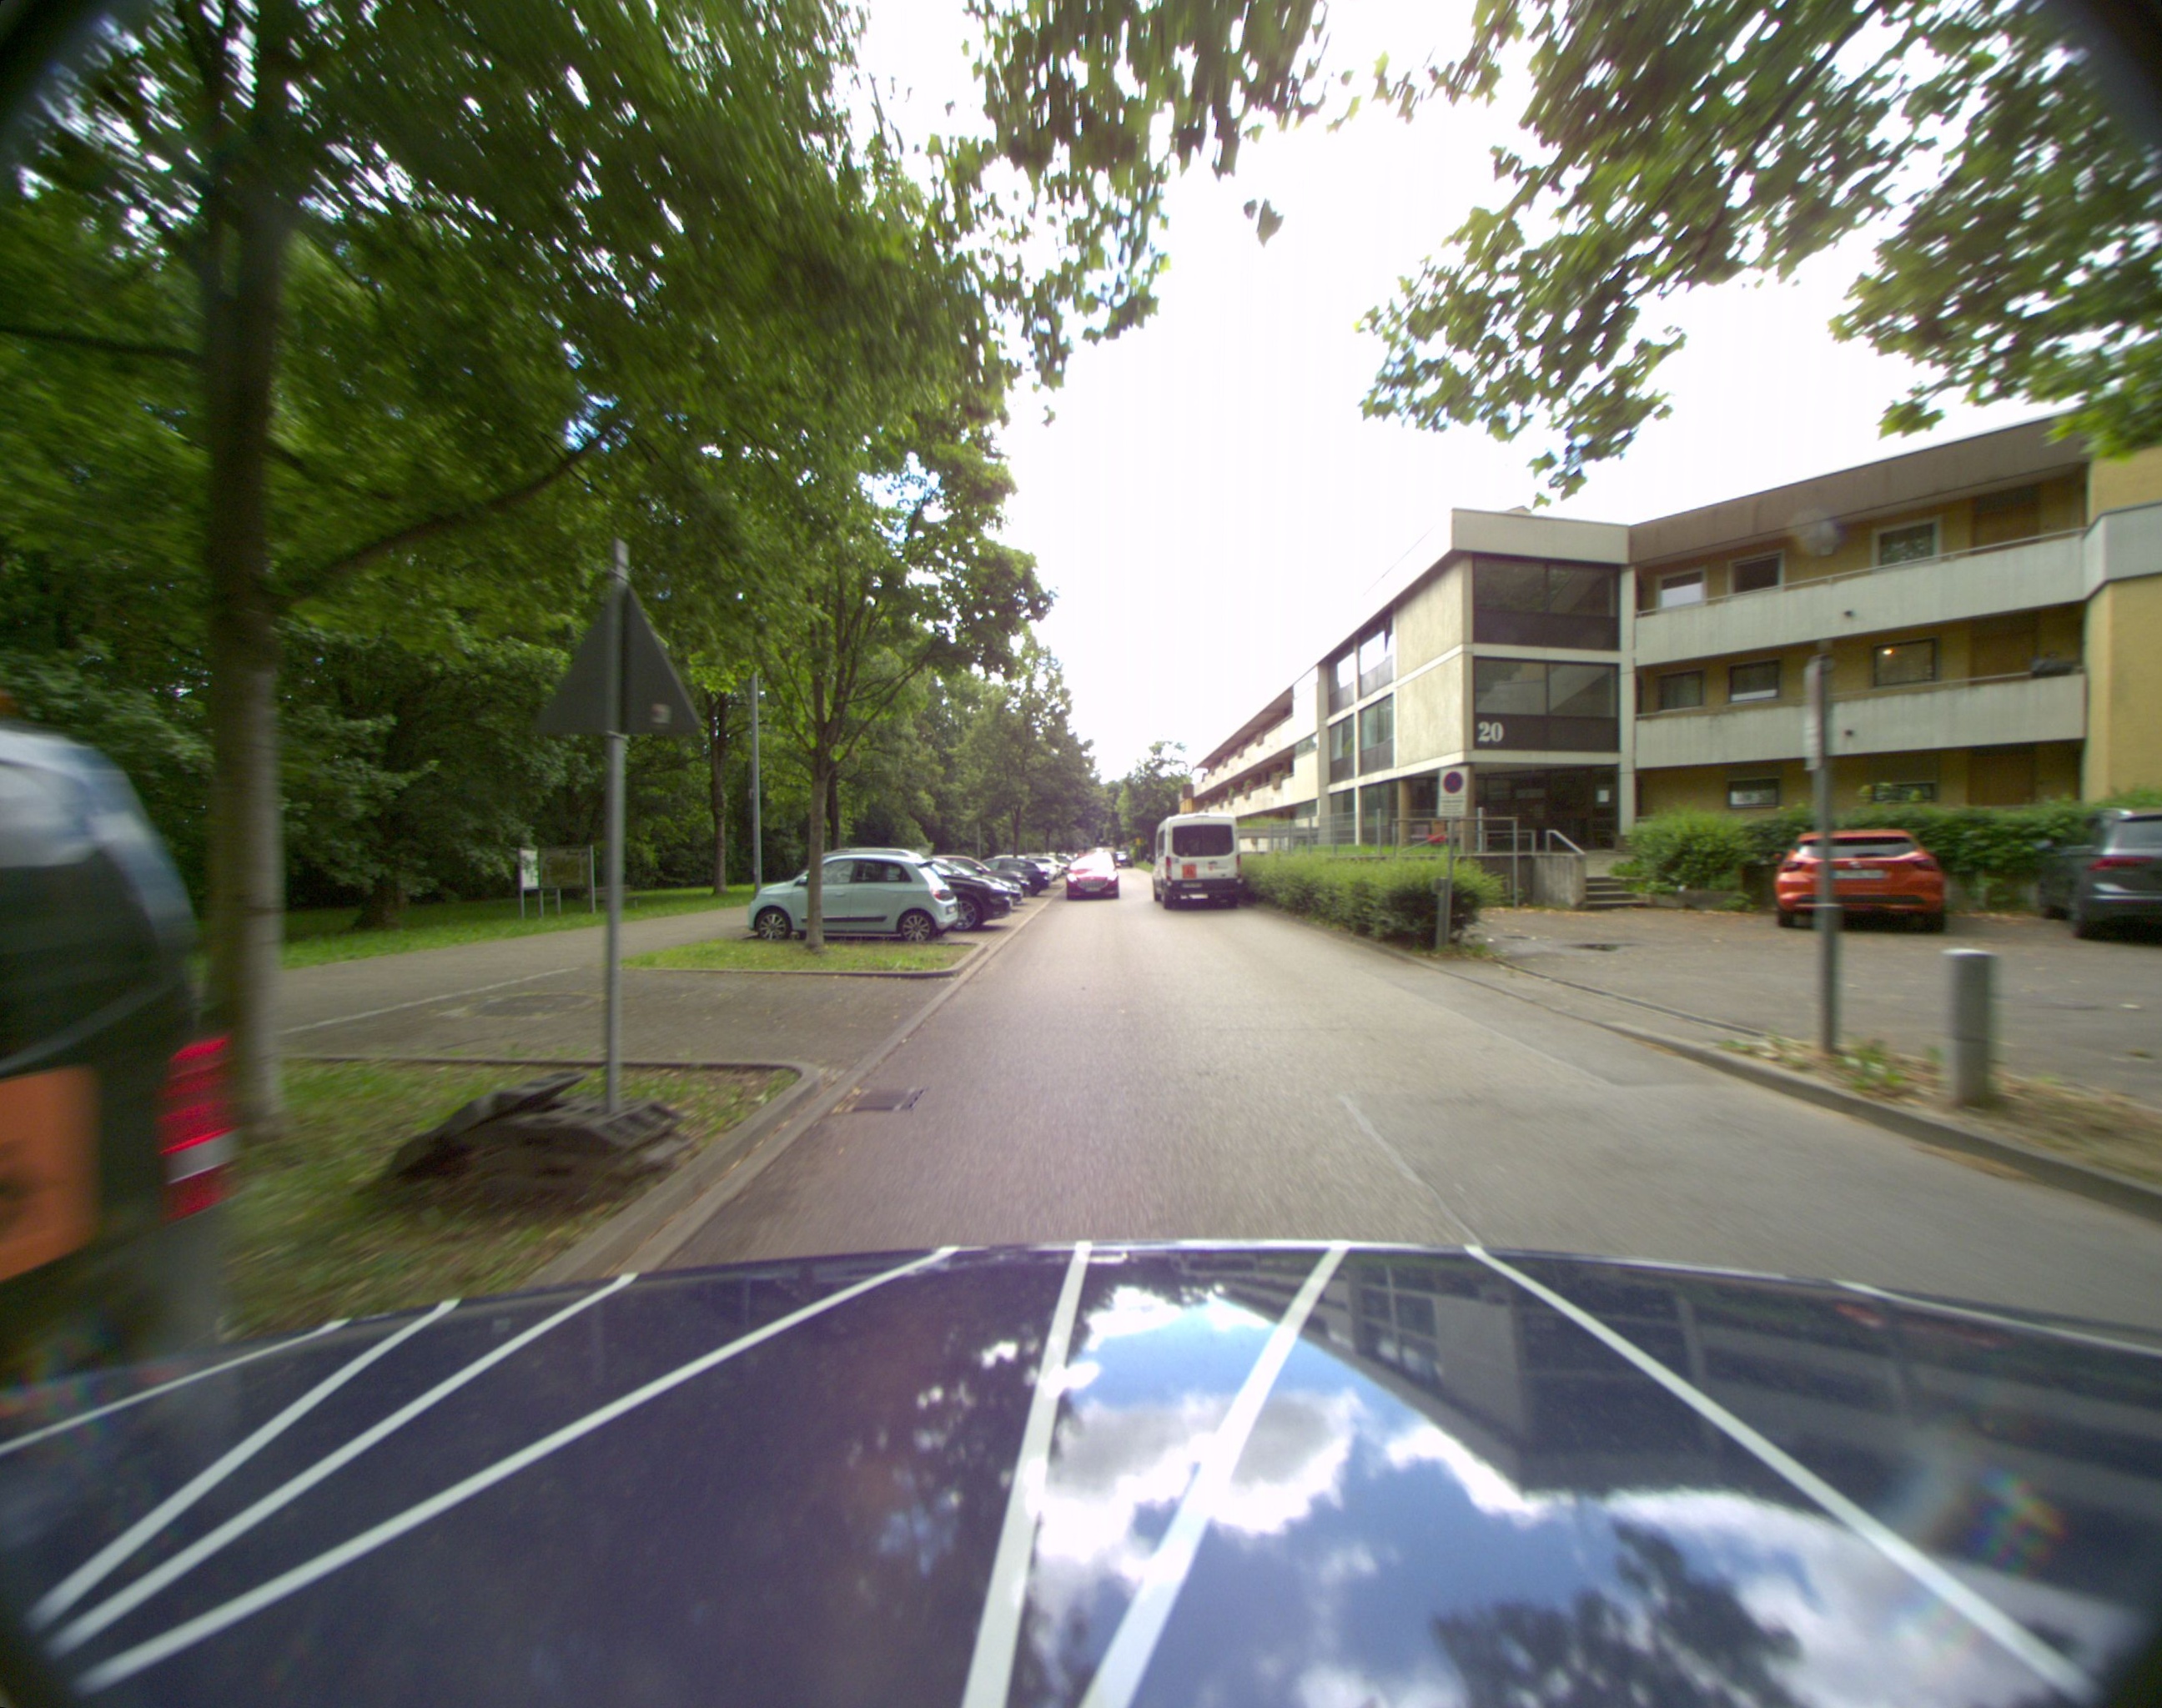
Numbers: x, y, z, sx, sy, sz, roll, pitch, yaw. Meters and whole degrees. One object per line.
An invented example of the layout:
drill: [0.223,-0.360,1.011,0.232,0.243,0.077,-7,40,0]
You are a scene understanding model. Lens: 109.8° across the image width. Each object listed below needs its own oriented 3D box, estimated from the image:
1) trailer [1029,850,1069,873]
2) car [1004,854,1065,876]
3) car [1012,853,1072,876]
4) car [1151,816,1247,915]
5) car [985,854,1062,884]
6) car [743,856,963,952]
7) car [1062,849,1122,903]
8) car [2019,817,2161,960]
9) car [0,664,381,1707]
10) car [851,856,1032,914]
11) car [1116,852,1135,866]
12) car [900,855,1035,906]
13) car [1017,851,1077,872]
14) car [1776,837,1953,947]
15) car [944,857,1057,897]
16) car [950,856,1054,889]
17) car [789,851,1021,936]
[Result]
trailer: [-2.470,0.557,58.479,3.037,1.780,1.563,0,1,-1]
car: [-3.121,0.711,50.831,4.019,1.414,1.791,0,1,-4]
car: [-2.676,0.700,53.237,4.123,1.539,1.860,0,1,-1]
car: [3.316,0.309,22.654,2.137,2.461,6.278,-2,0,3]
car: [-3.010,0.750,40.339,3.848,1.507,1.881,1,1,4]
car: [-3.988,0.847,13.689,3.387,1.565,1.797,1,0,2]
car: [0.431,0.725,27.562,1.918,1.707,5.039,-2,0,1]
car: [13.874,0.337,9.784,1.820,1.602,4.008,-1,1,45]
car: [-4.132,0.668,0.761,4.965,2.002,2.166,1,0,3]
car: [-3.838,0.832,21.464,4.647,1.508,1.983,1,0,3]
car: [4.827,0.499,82.737,1.918,1.403,4.423,-2,0,1]
car: [-3.532,0.824,24.298,4.083,1.508,1.851,0,1,-2]
car: [-2.810,0.594,63.637,4.828,1.683,1.974,1,1,5]
car: [12.440,0.485,12.199,1.744,1.422,4.008,-1,1,45]
car: [-3.036,0.855,29.212,4.082,1.448,1.851,0,1,2]
car: [-3.536,0.819,34.599,4.496,1.446,1.846,0,1,2]
car: [-3.608,0.792,16.241,4.426,1.666,2.082,1,0,1]
